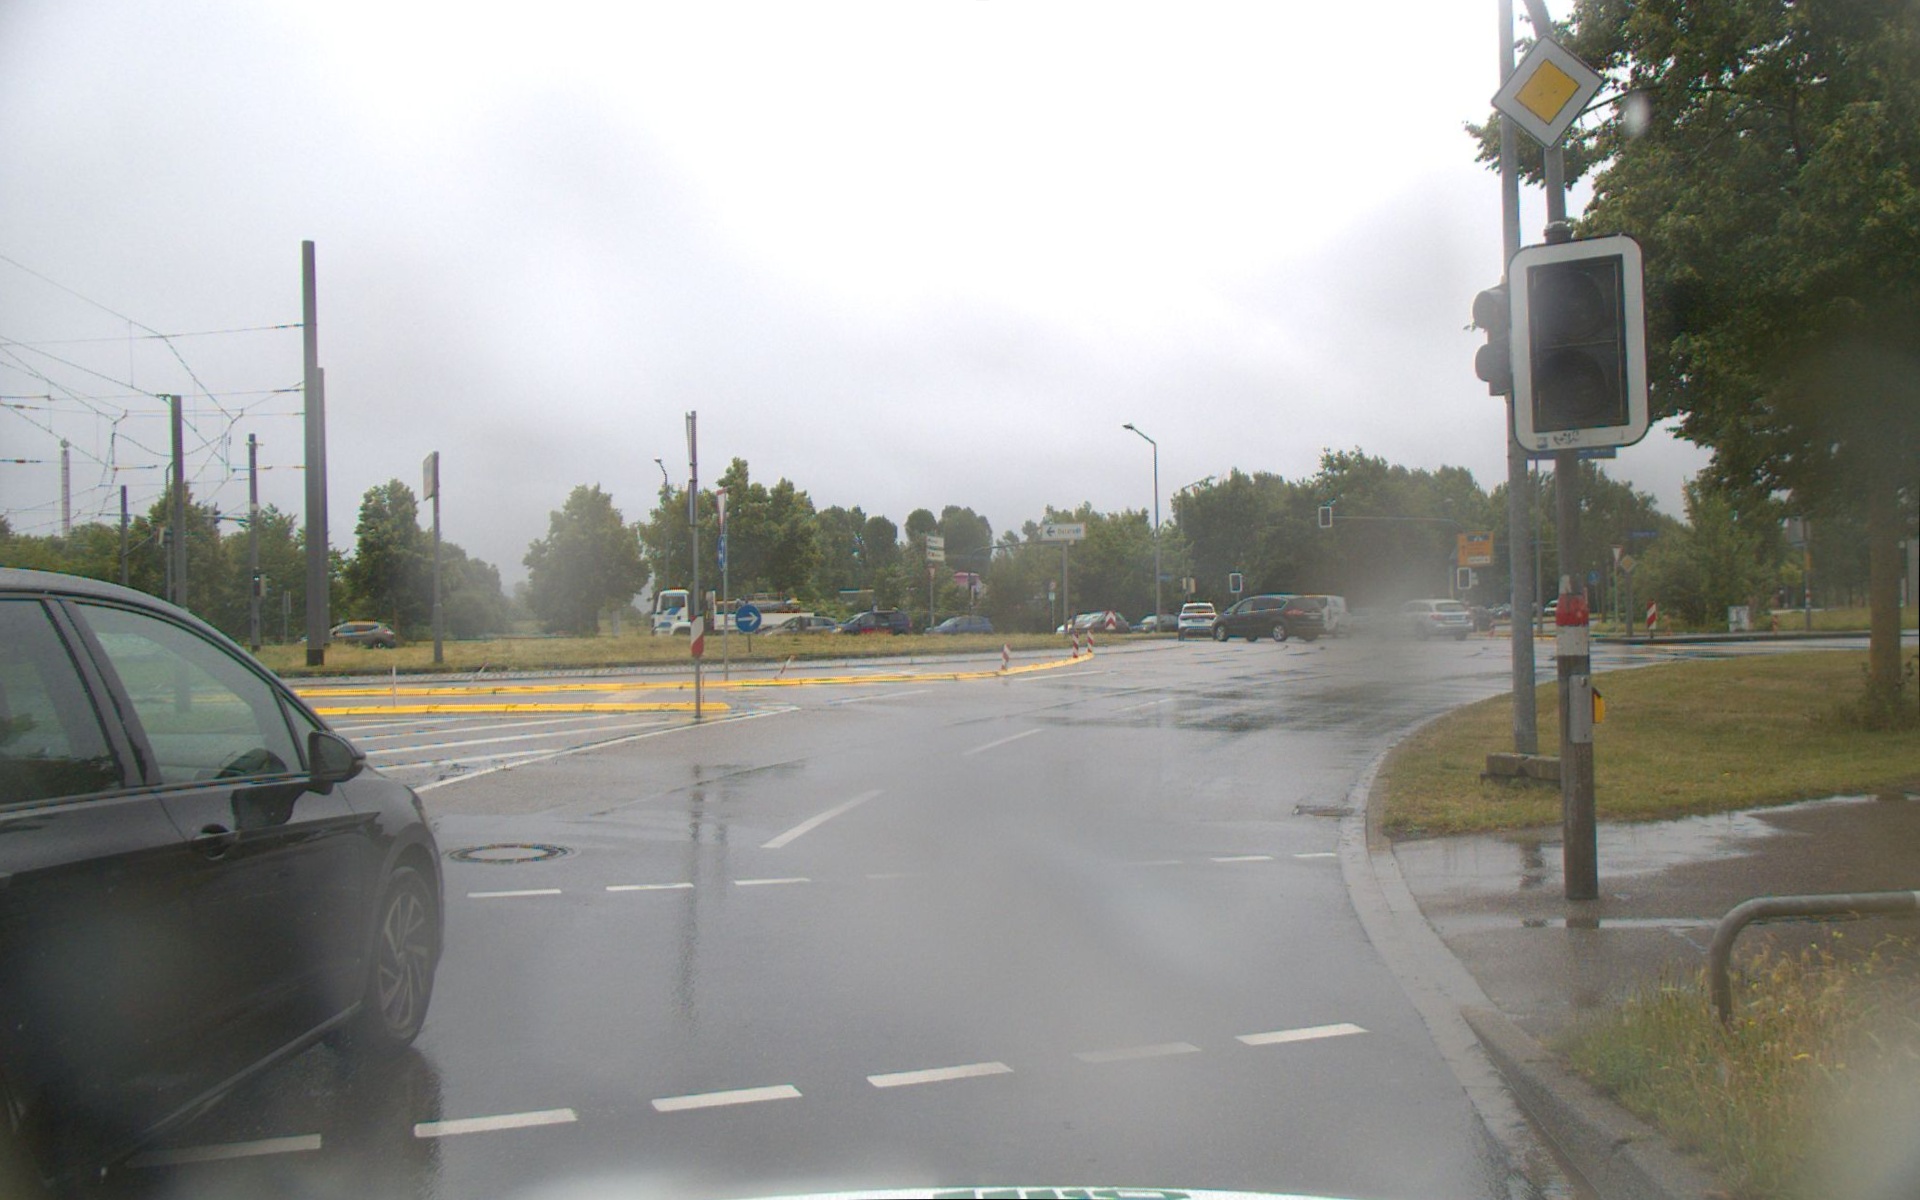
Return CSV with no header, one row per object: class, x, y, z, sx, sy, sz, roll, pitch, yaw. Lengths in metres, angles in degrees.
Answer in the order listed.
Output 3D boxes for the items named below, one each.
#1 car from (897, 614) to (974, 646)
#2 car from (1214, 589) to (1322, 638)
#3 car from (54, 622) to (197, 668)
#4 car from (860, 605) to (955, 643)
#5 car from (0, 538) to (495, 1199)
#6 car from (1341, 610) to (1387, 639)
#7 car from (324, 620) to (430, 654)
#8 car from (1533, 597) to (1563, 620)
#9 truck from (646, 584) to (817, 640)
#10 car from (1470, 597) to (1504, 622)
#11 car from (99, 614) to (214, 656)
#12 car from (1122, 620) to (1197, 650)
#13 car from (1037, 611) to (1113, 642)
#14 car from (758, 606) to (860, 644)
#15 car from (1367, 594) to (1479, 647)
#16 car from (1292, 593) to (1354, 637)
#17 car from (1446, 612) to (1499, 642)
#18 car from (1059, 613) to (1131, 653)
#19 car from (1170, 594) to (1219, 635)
car,-1.342,1.648,91.311,3.921,1.676,1.782,1,-1,-15
car,11.093,0.488,59.787,1.762,1.676,3.964,1,-1,-27
car,-33.590,1.824,66.682,1.747,1.774,4.834,0,-1,43
car,-2.504,1.194,80.287,1.747,1.774,4.835,0,-1,43
car,-2.620,0.660,4.048,1.747,1.544,4.331,1,-1,-1
car,22.594,1.347,92.441,1.657,1.518,3.245,-1,0,30
car,-27.142,1.714,77.016,4.477,1.518,1.598,1,-1,-26
car,55.439,0.818,155.929,1.758,2.049,3.659,0,-1,36
truck,-11.897,0.638,86.017,8.622,2.759,1.992,1,-1,-15
car,45.994,0.849,144.361,1.758,2.049,3.659,0,-1,36
car,-34.885,1.538,71.846,4.134,1.754,1.805,2,-1,-45
car,11.484,2.002,95.176,3.927,1.676,1.779,1,-1,-19
car,6.790,1.587,97.633,4.830,1.774,1.748,2,-1,-45
car,-7.543,1.252,82.748,4.790,1.774,1.763,1,-1,-26
car,16.825,0.735,60.361,1.753,1.842,4.819,1,-1,-14
car,17.410,0.729,79.292,1.750,2.072,3.991,0,-1,30
car,27.175,1.417,87.677,1.661,1.518,3.238,-1,0,37
car,7.191,1.743,87.831,3.969,2.049,1.650,2,-1,-44
car,10.006,0.618,70.733,1.646,1.676,3.948,1,-1,2
